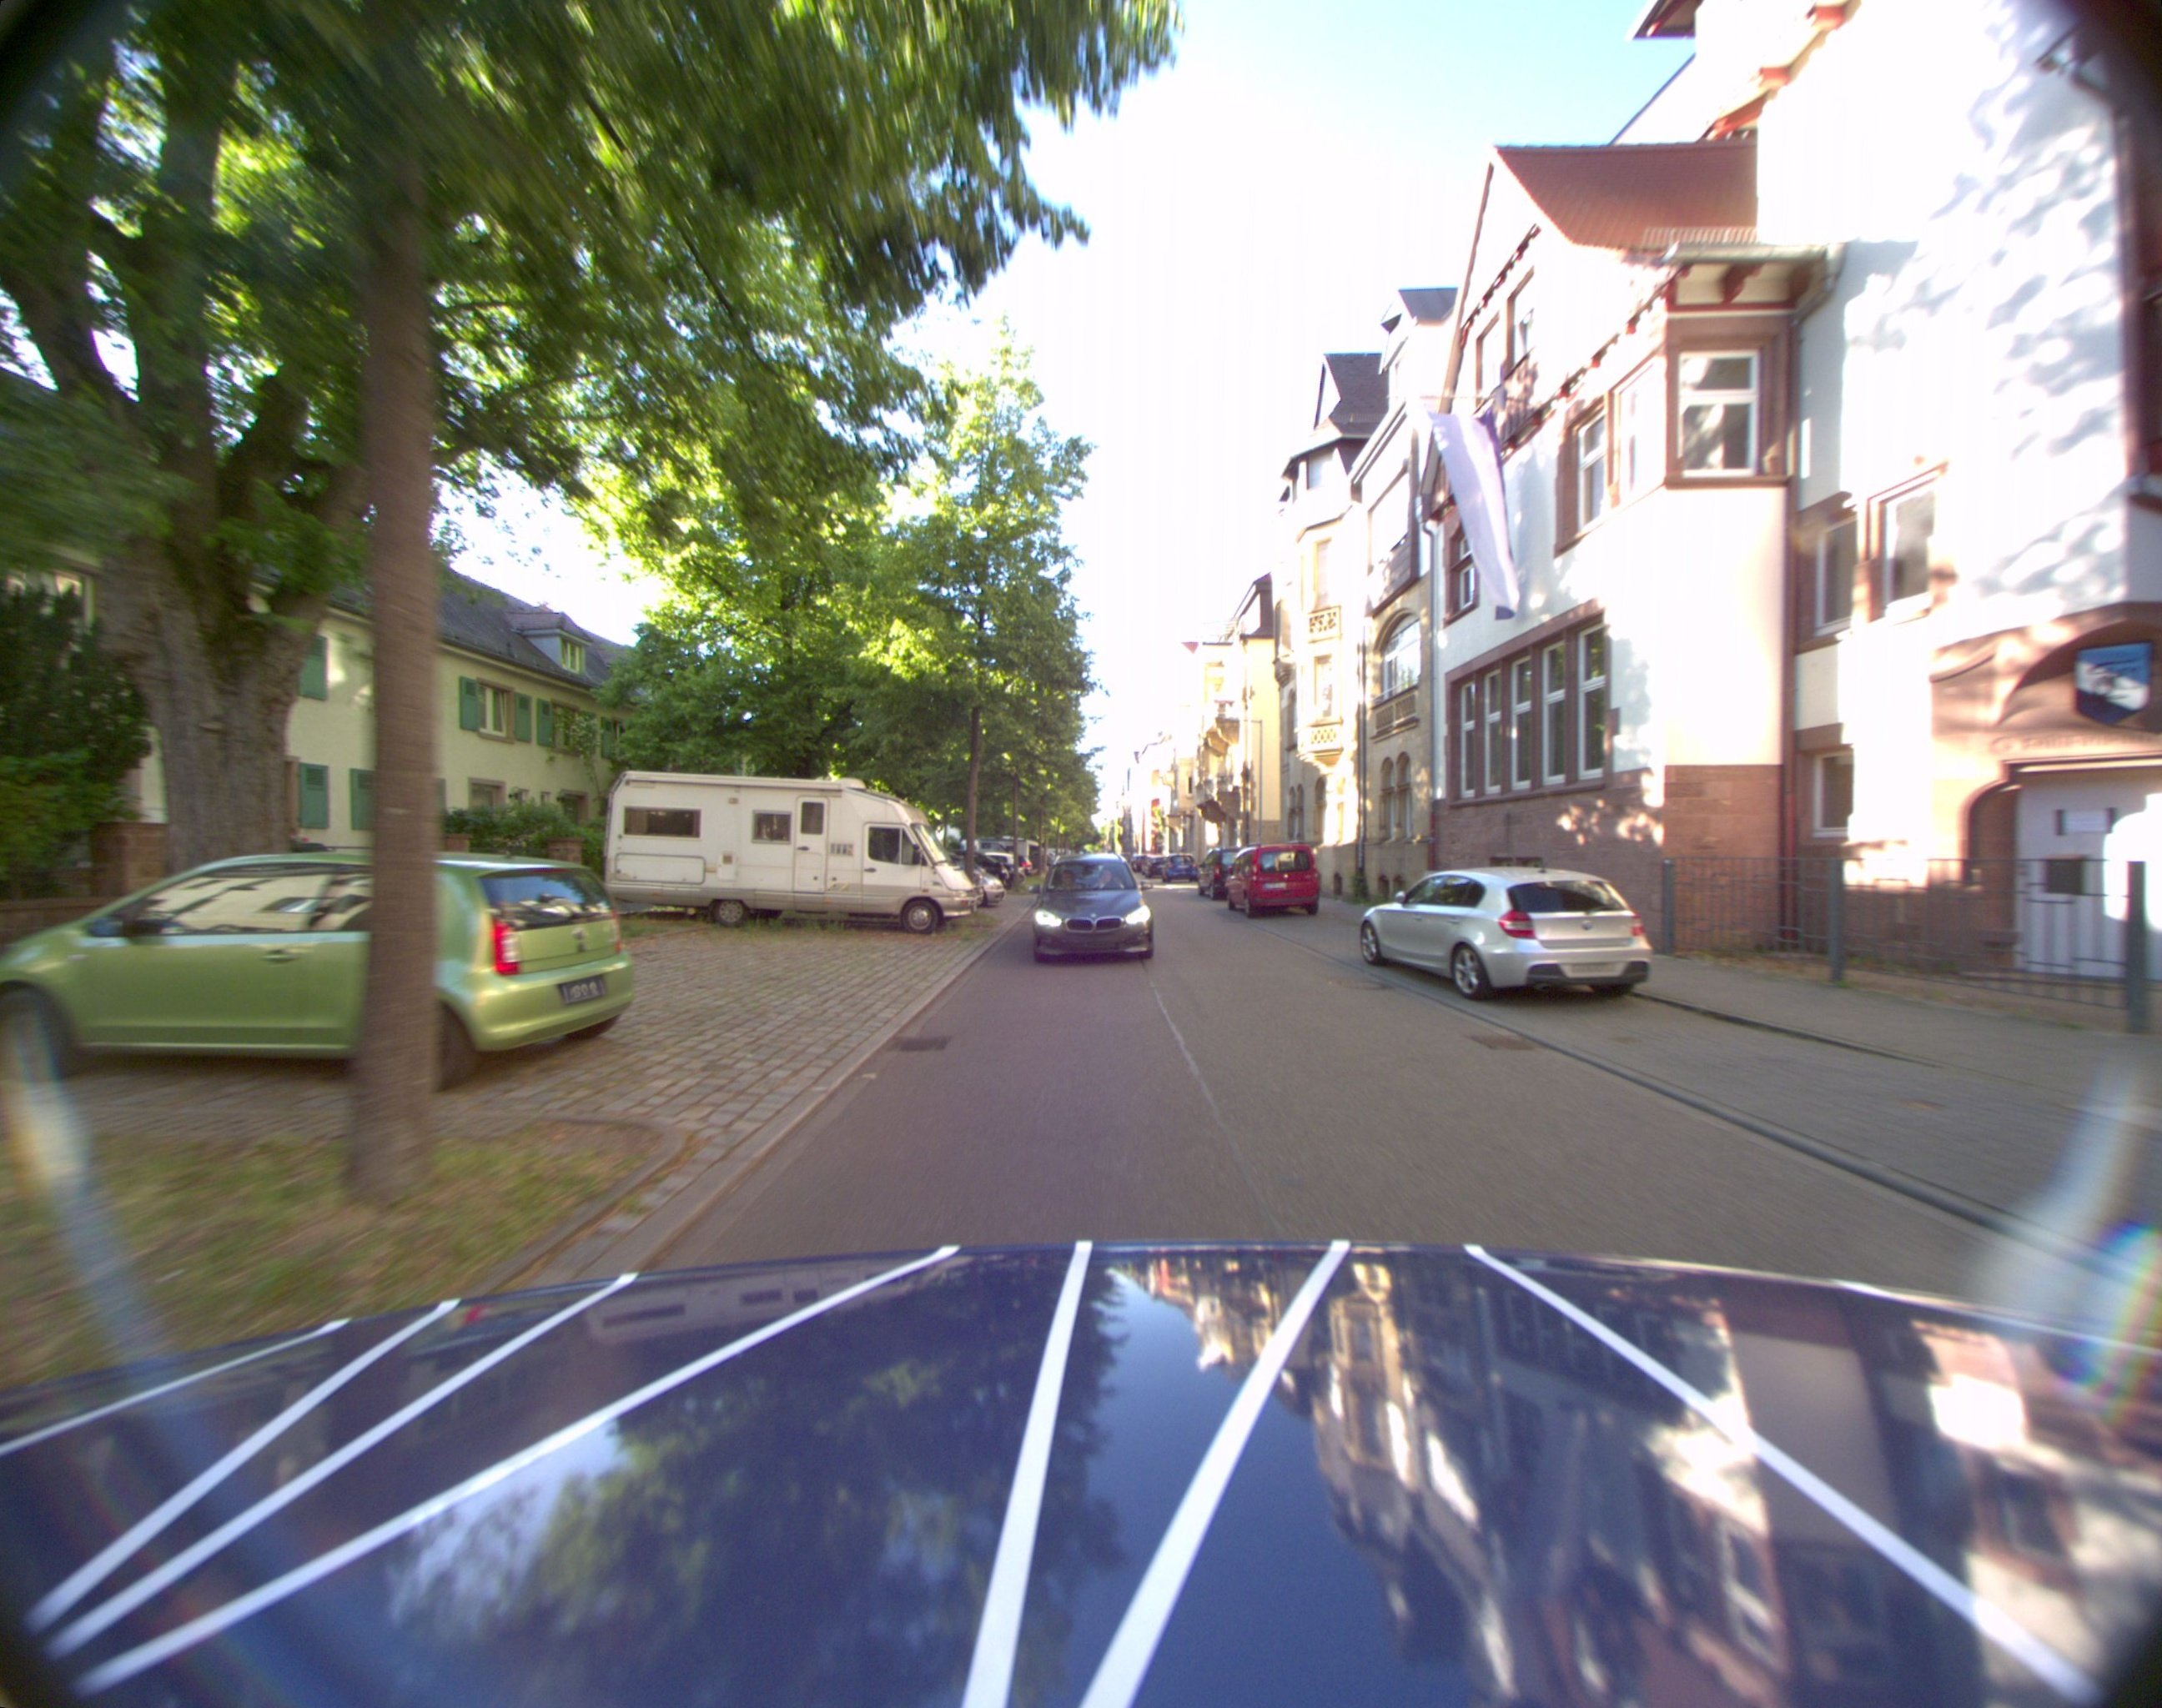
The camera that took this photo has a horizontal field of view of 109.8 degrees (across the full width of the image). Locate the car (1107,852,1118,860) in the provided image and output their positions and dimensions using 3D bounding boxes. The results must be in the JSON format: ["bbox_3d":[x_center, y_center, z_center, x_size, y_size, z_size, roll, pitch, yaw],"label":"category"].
[{"bbox_3d":[5.421,0.268,131.148,1.702,1.372,4.000,0,1,0],"label":"car"}]

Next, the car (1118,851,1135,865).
[{"bbox_3d":[5.648,0.523,94.386,1.862,1.595,4.000,-3,1,0],"label":"car"}]

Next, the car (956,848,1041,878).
[{"bbox_3d":[-4.577,0.475,42.552,4.468,1.469,1.753,2,1,2],"label":"car"}]

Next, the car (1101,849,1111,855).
[{"bbox_3d":[6.372,-0.553,195.339,2.000,1.529,3.997,-2,1,-8],"label":"car"}]

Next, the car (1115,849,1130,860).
[{"bbox_3d":[5.982,0.090,110.497,1.922,1.510,4.000,0,1,0],"label":"car"}]

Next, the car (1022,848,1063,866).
[{"bbox_3d":[-3.854,0.266,76.803,3.997,1.804,2.000,0,1,1],"label":"car"}]

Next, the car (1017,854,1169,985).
[{"bbox_3d":[0.201,0.863,12.249,1.924,1.597,4.516,-3,0,1],"label":"car"}]

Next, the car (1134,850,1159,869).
[{"bbox_3d":[5.373,0.433,62.315,1.747,1.457,3.998,-2,1,1],"label":"car"}]

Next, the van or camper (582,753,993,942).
[{"bbox_3d":[-5.503,-0.105,15.173,7.095,3.060,2.464,3,1,-2],"label":"van or camper"}]

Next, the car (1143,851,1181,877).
[{"bbox_3d":[5.230,0.597,49.336,1.905,1.430,4.541,-4,1,0],"label":"car"}]

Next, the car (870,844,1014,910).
[{"bbox_3d":[-4.064,0.660,22.687,3.924,1.734,1.729,2,1,0],"label":"car"}]

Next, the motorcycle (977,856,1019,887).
[{"bbox_3d":[-3.322,0.693,30.384,0.739,1.190,1.771,-1,1,-43],"label":"motorcycle"}]

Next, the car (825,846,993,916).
[{"bbox_3d":[-4.516,0.688,20.371,3.971,1.590,1.903,3,2,3],"label":"car"}]

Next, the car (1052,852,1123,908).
[{"bbox_3d":[0.115,0.779,24.642,1.999,1.584,4.261,-2,0,-3],"label":"car"}]

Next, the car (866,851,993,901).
[{"bbox_3d":[-4.935,0.712,25.180,3.887,1.464,1.786,2,1,-5],"label":"car"}]

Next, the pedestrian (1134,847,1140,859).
[{"bbox_3d":[8.010,-0.102,108.016,0.779,1.693,1.010,0,1,1],"label":"pedestrian"}]

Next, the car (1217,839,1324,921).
[{"bbox_3d":[4.923,0.600,20.347,1.803,1.896,4.324,-2,1,1],"label":"car"}]

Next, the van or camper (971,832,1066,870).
[{"bbox_3d":[-4.881,-0.250,60.221,7.266,2.888,2.427,0,2,0],"label":"van or camper"}]

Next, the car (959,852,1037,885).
[{"bbox_3d":[-3.903,0.657,36.086,3.456,1.467,1.693,1,1,0],"label":"car"}]

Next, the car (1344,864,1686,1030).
[{"bbox_3d":[4.842,0.909,9.265,1.748,1.458,4.102,-1,1,-1],"label":"car"}]

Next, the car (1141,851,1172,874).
[{"bbox_3d":[5.425,0.562,55.223,1.694,1.458,3.772,-4,1,-1],"label":"car"}]

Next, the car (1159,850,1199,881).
[{"bbox_3d":[5.186,0.569,40.348,1.688,1.500,2.861,-4,1,1],"label":"car"}]

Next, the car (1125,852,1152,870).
[{"bbox_3d":[5.126,0.616,68.087,1.893,1.448,4.510,-4,0,-1],"label":"car"}]

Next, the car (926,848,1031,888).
[{"bbox_3d":[-4.467,0.598,33.666,4.344,1.599,1.927,1,1,-1],"label":"car"}]

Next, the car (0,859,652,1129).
[{"bbox_3d":[-5.264,0.816,5.281,3.598,1.496,1.678,1,0,1],"label":"car"}]

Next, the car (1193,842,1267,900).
[{"bbox_3d":[5.221,0.551,27.130,1.774,1.841,4.541,-1,0,1],"label":"car"}]
